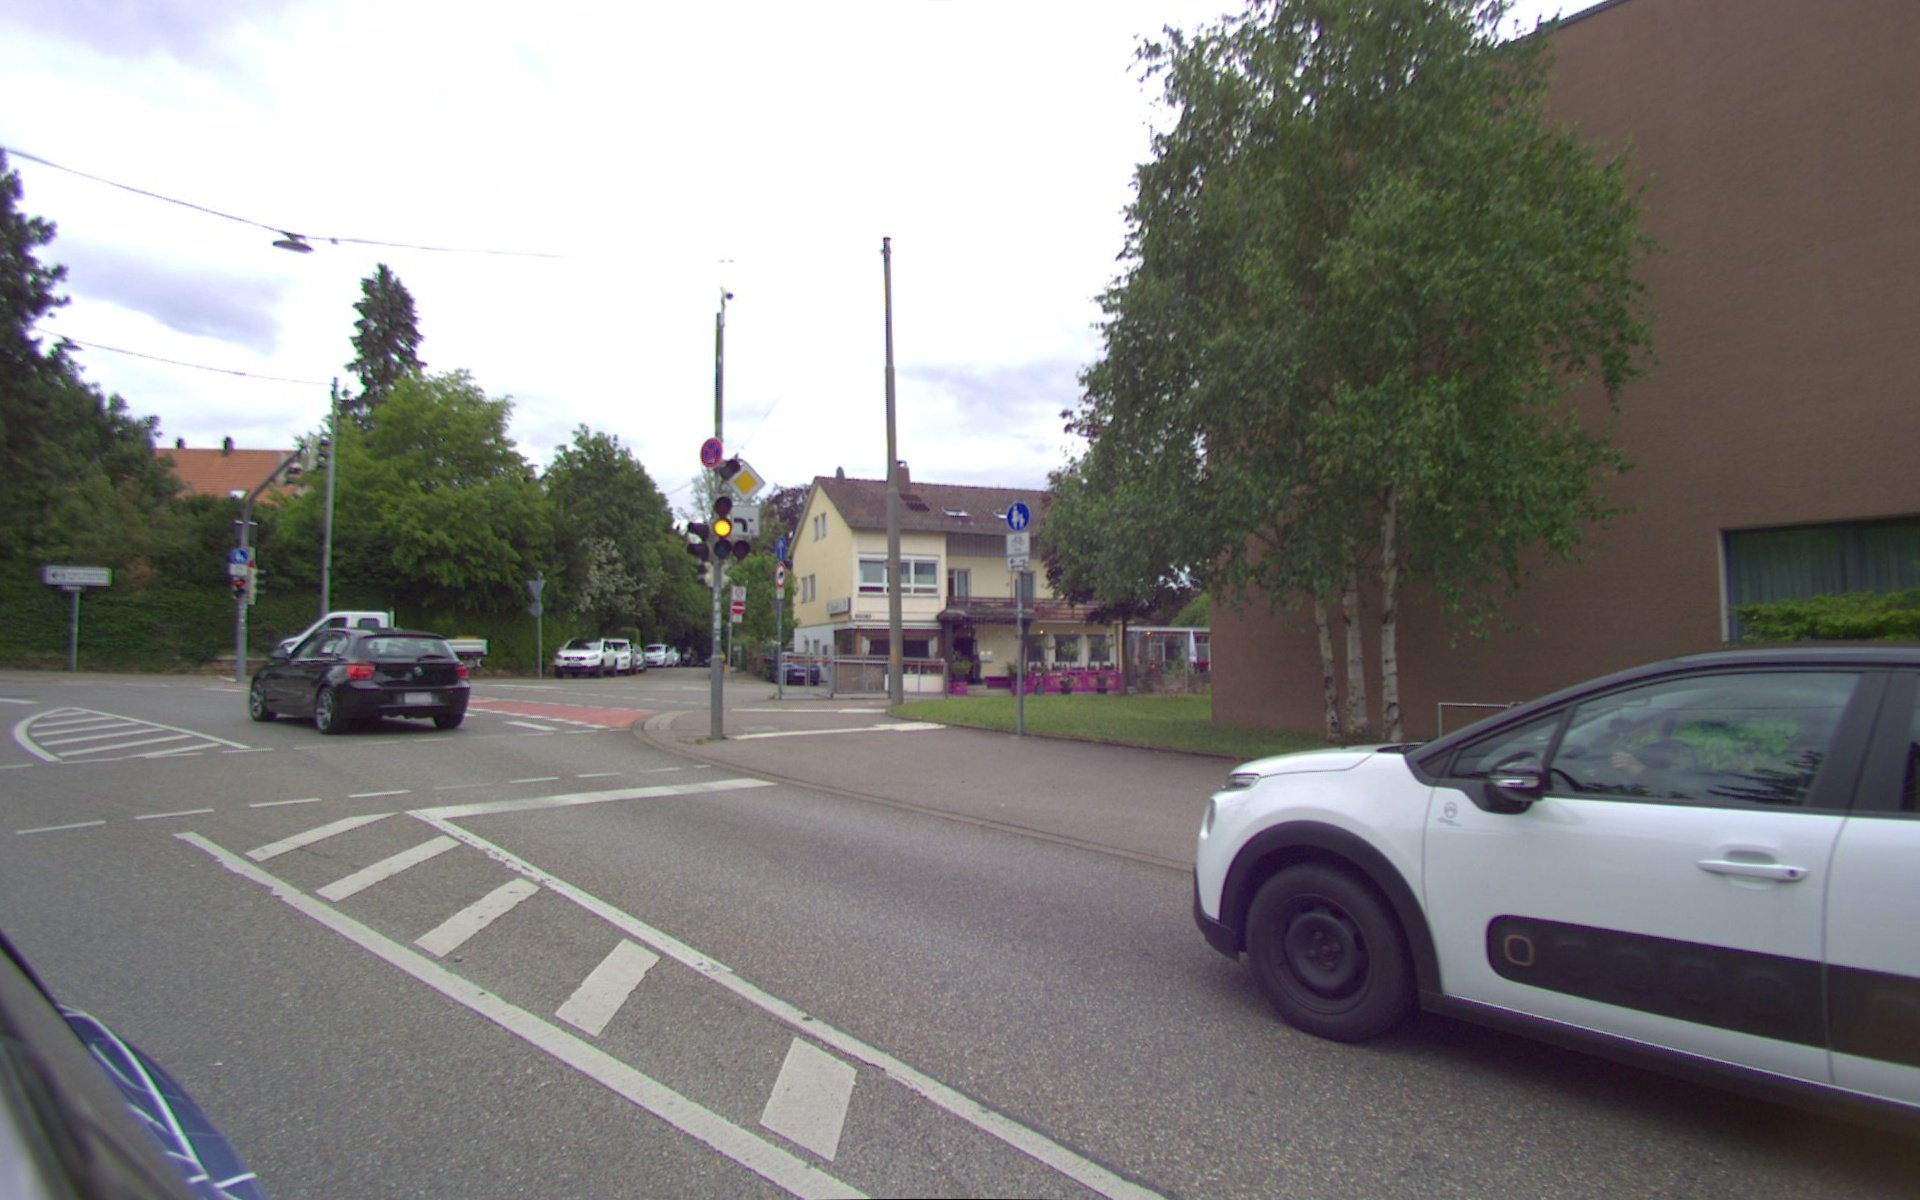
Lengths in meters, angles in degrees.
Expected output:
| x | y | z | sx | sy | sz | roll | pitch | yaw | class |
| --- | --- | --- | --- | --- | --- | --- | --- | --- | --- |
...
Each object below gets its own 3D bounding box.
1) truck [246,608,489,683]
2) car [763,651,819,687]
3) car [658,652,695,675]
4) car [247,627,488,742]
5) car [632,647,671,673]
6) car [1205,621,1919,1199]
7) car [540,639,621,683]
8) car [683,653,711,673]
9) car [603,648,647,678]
| x | y | z | sx | sy | sz | roll | pitch | yaw | class |
| --- | --- | --- | --- | --- | --- | --- | --- | --- | --- |
| -19.359 | 1.538 | 33.372 | 6.604 | 2.205 | 2.537 | 3 | -3 | -32 | truck |
| -7.521 | 3.015 | 44.665 | 1.849 | 1.460 | 4.012 | 2 | -3 | -17 | car |
| -21.281 | 4.770 | 76.052 | 1.969 | 1.629 | 4.004 | 1 | -3 | -5 | car |
| -8.604 | 1.147 | 14.573 | 3.998 | 1.419 | 1.744 | -1 | -4 | 41 | car |
| -20.231 | 3.933 | 66.526 | 1.843 | 1.599 | 3.737 | 1 | -3 | -8 | car |
| 2.854 | 0.847 | 3.156 | 1.675 | 1.451 | 3.761 | 6 | -5 | -42 | car |
| -15.131 | 2.432 | 40.558 | 1.970 | 1.625 | 4.003 | 2 | -3 | -4 | car |
| -22.192 | 5.275 | 85.489 | 1.843 | 1.599 | 3.737 | 2 | -3 | -8 | car |
| -17.144 | 3.199 | 51.855 | 1.841 | 1.464 | 3.740 | 1 | -3 | -14 | car |
